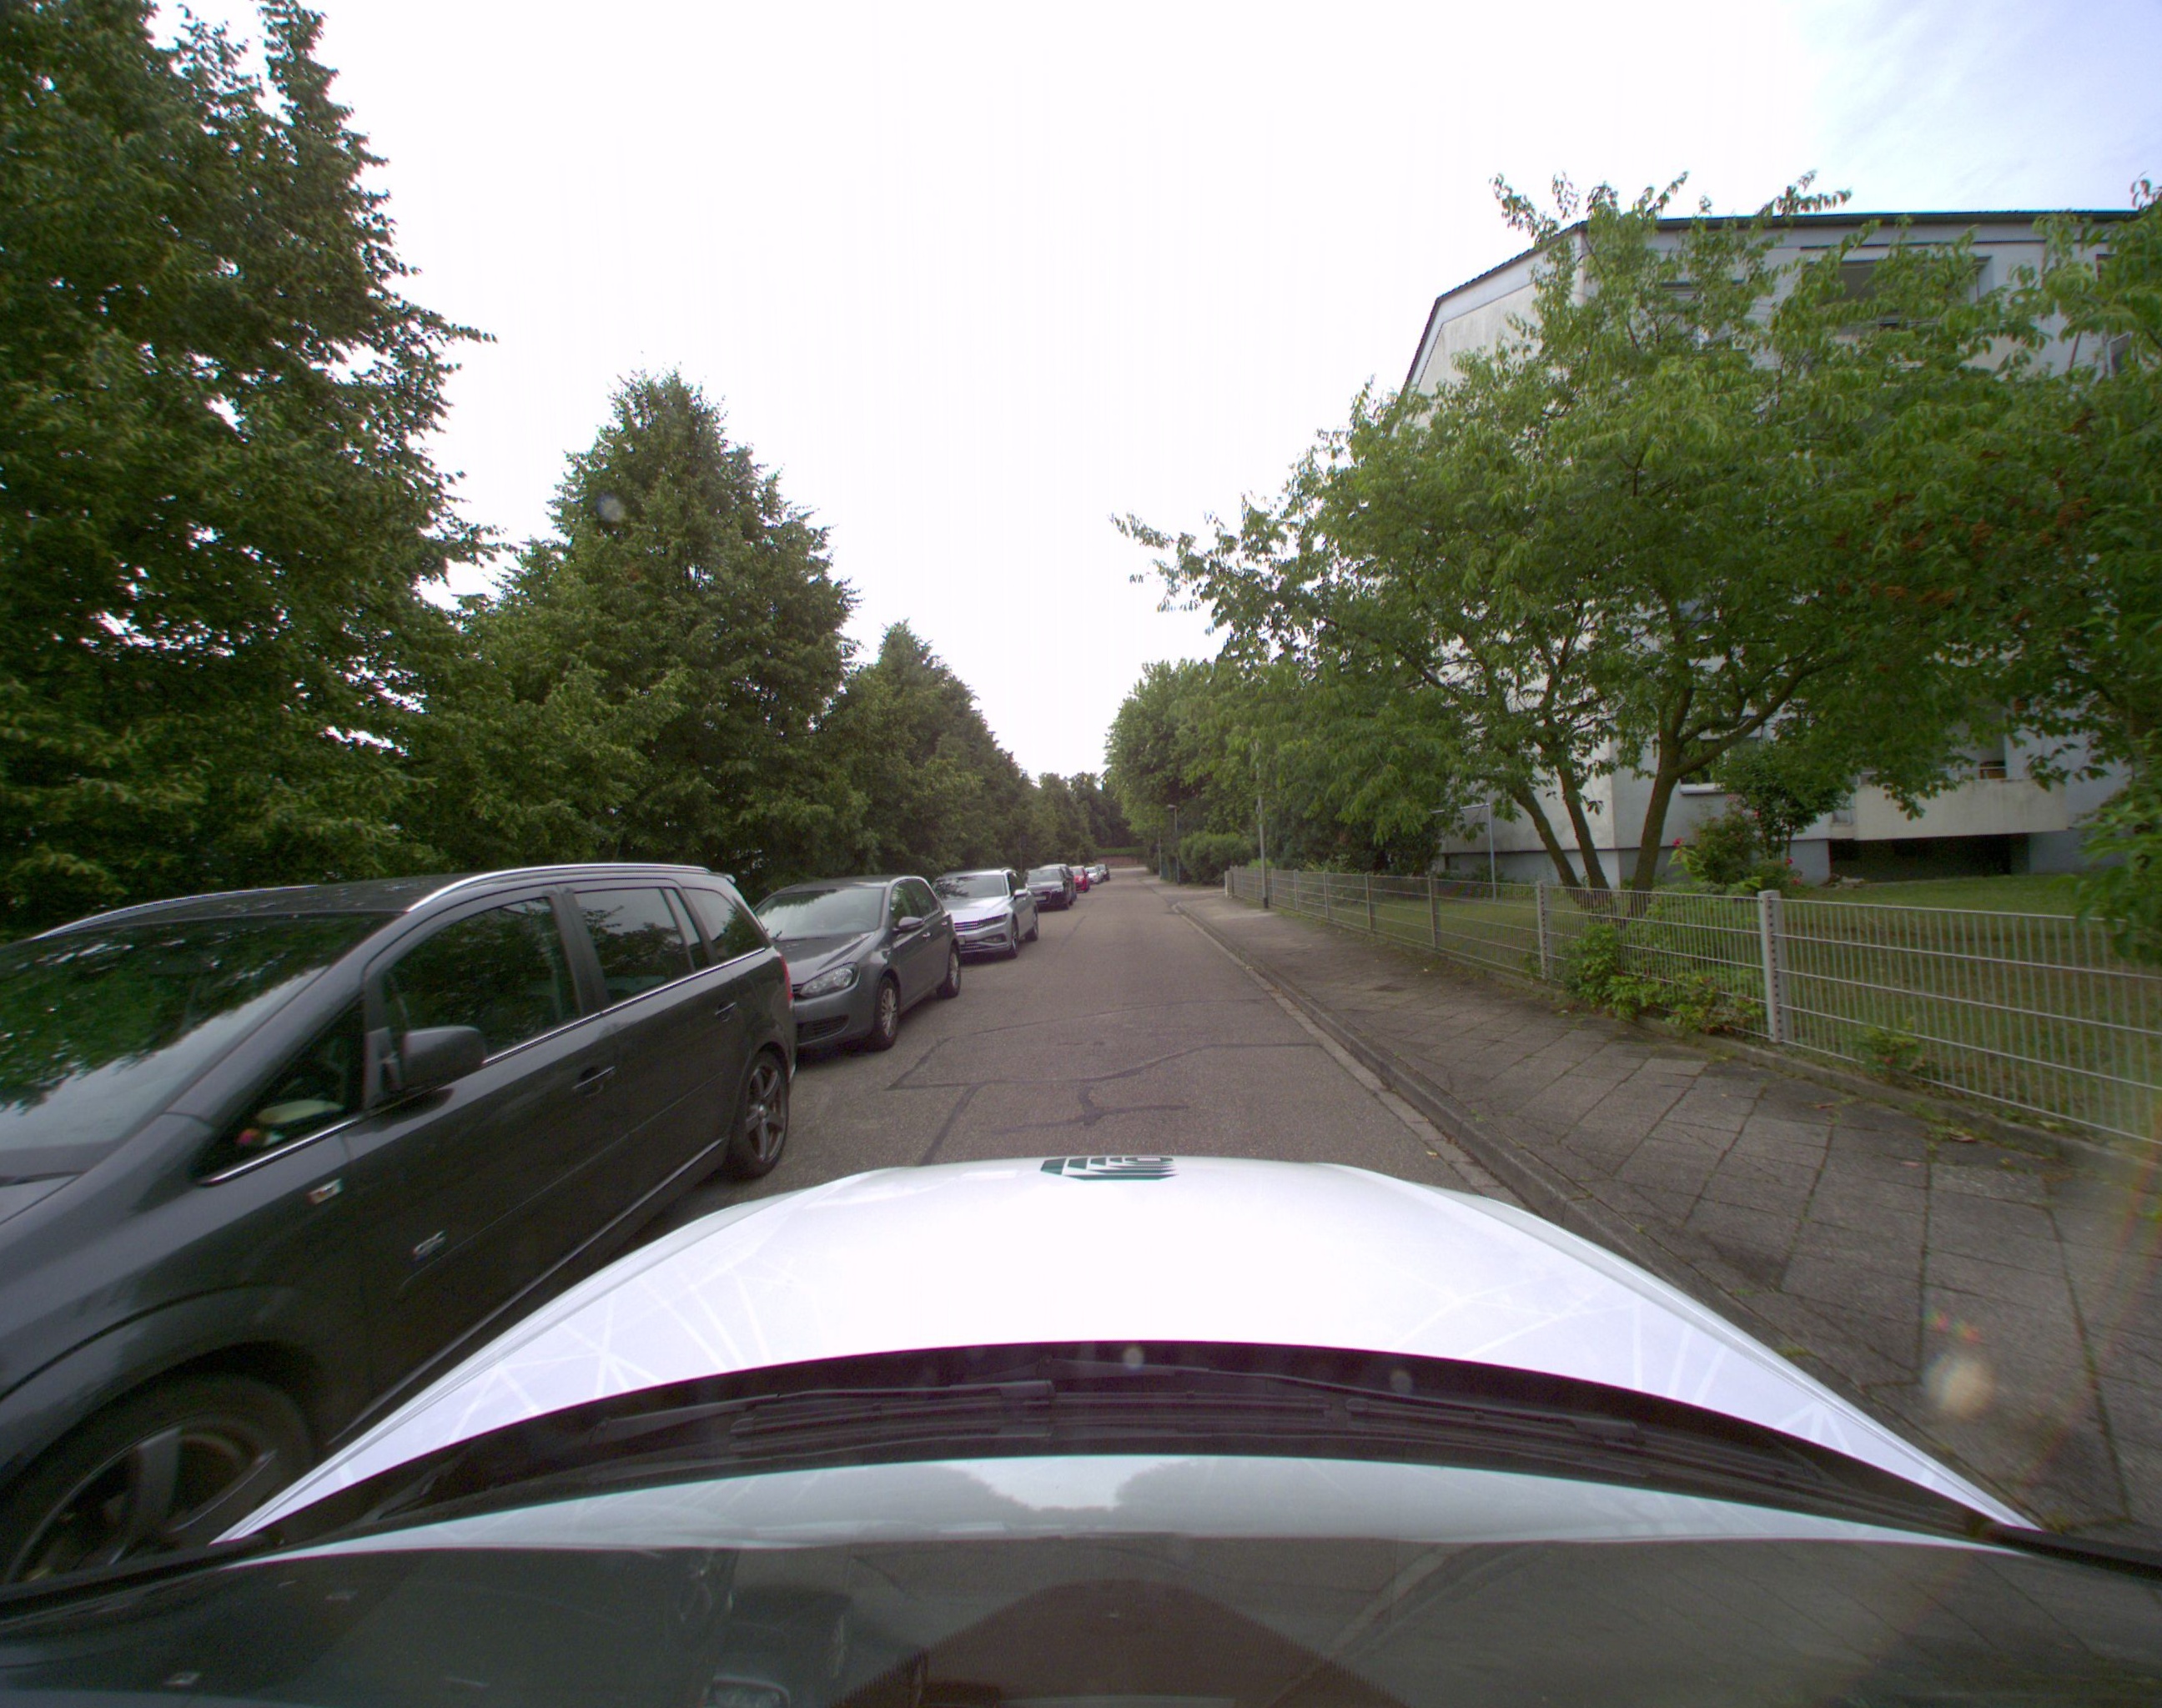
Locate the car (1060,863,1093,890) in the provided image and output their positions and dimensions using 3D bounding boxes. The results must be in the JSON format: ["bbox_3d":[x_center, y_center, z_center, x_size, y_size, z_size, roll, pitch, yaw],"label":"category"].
[{"bbox_3d":[-0.256,1.424,52.887,1.744,1.519,4.003,-5,-1,3],"label":"car"}]

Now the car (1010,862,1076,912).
[{"bbox_3d":[-1.207,1.058,27.687,1.744,1.425,4.003,-5,-1,3],"label":"car"}]

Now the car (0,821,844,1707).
[{"bbox_3d":[-2.492,0.821,2.815,1.751,1.593,4.554,-5,0,2],"label":"car"}]

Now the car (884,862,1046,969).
[{"bbox_3d":[-1.825,0.933,14.288,1.768,1.428,4.484,-5,0,4],"label":"car"}]

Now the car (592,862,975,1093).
[{"bbox_3d":[-2.401,0.902,7.924,1.749,1.478,4.311,-5,0,4],"label":"car"}]

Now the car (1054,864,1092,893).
[{"bbox_3d":[-0.411,1.351,46.338,1.744,1.425,4.003,-5,-1,3],"label":"car"}]

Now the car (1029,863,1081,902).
[{"bbox_3d":[-1.028,1.164,34.624,1.744,1.425,4.003,-5,-1,3],"label":"car"}]

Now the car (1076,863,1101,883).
[{"bbox_3d":[0.655,1.593,68.841,1.744,1.519,4.003,-5,-1,3],"label":"car"}]
